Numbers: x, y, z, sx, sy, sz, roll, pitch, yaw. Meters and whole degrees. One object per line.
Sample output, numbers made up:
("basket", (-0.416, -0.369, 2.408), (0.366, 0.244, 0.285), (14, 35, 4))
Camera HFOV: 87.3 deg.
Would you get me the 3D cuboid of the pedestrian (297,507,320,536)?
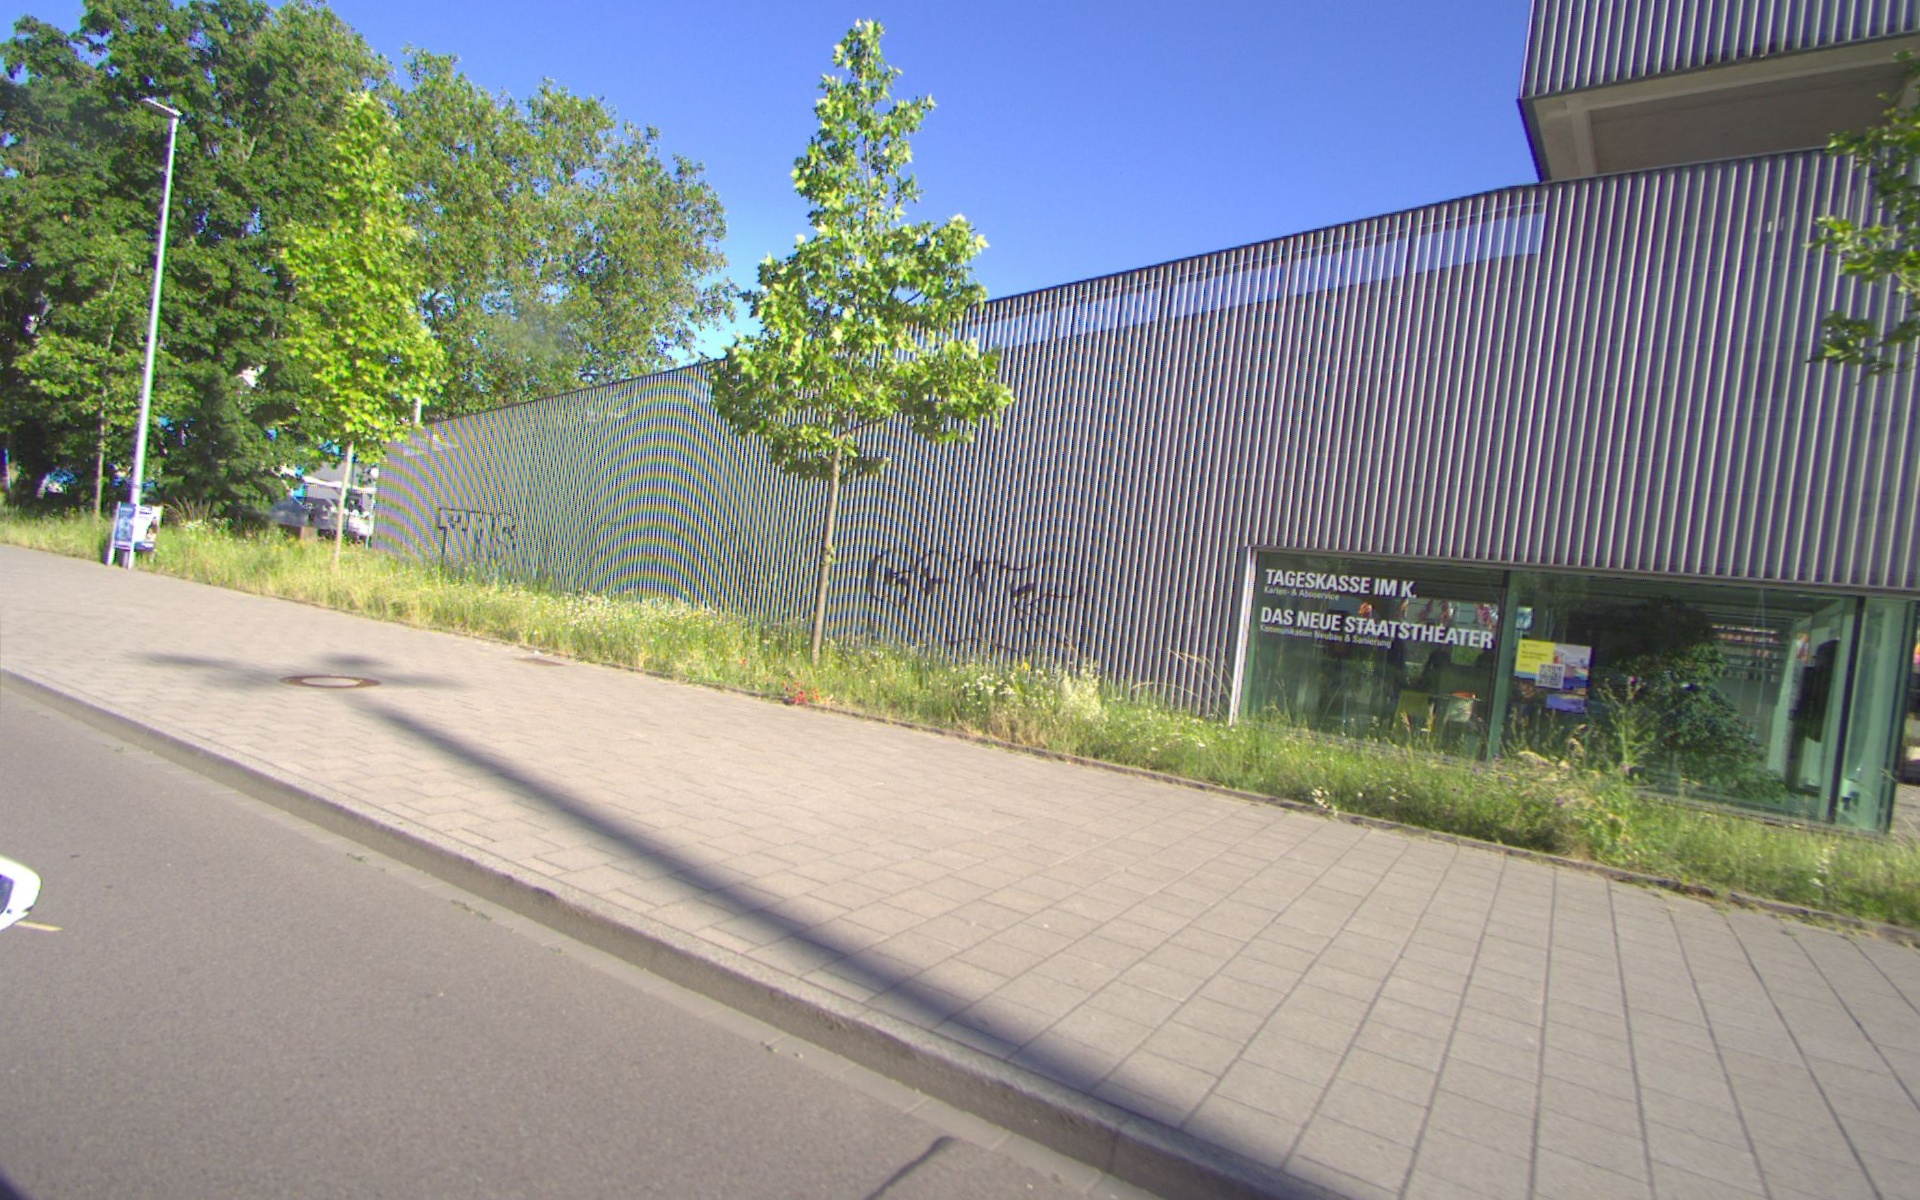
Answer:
("pedestrian", (-49.121, -5.907, 75.870), (0.932, 2.039, 0.913), (5, 1, 3))
